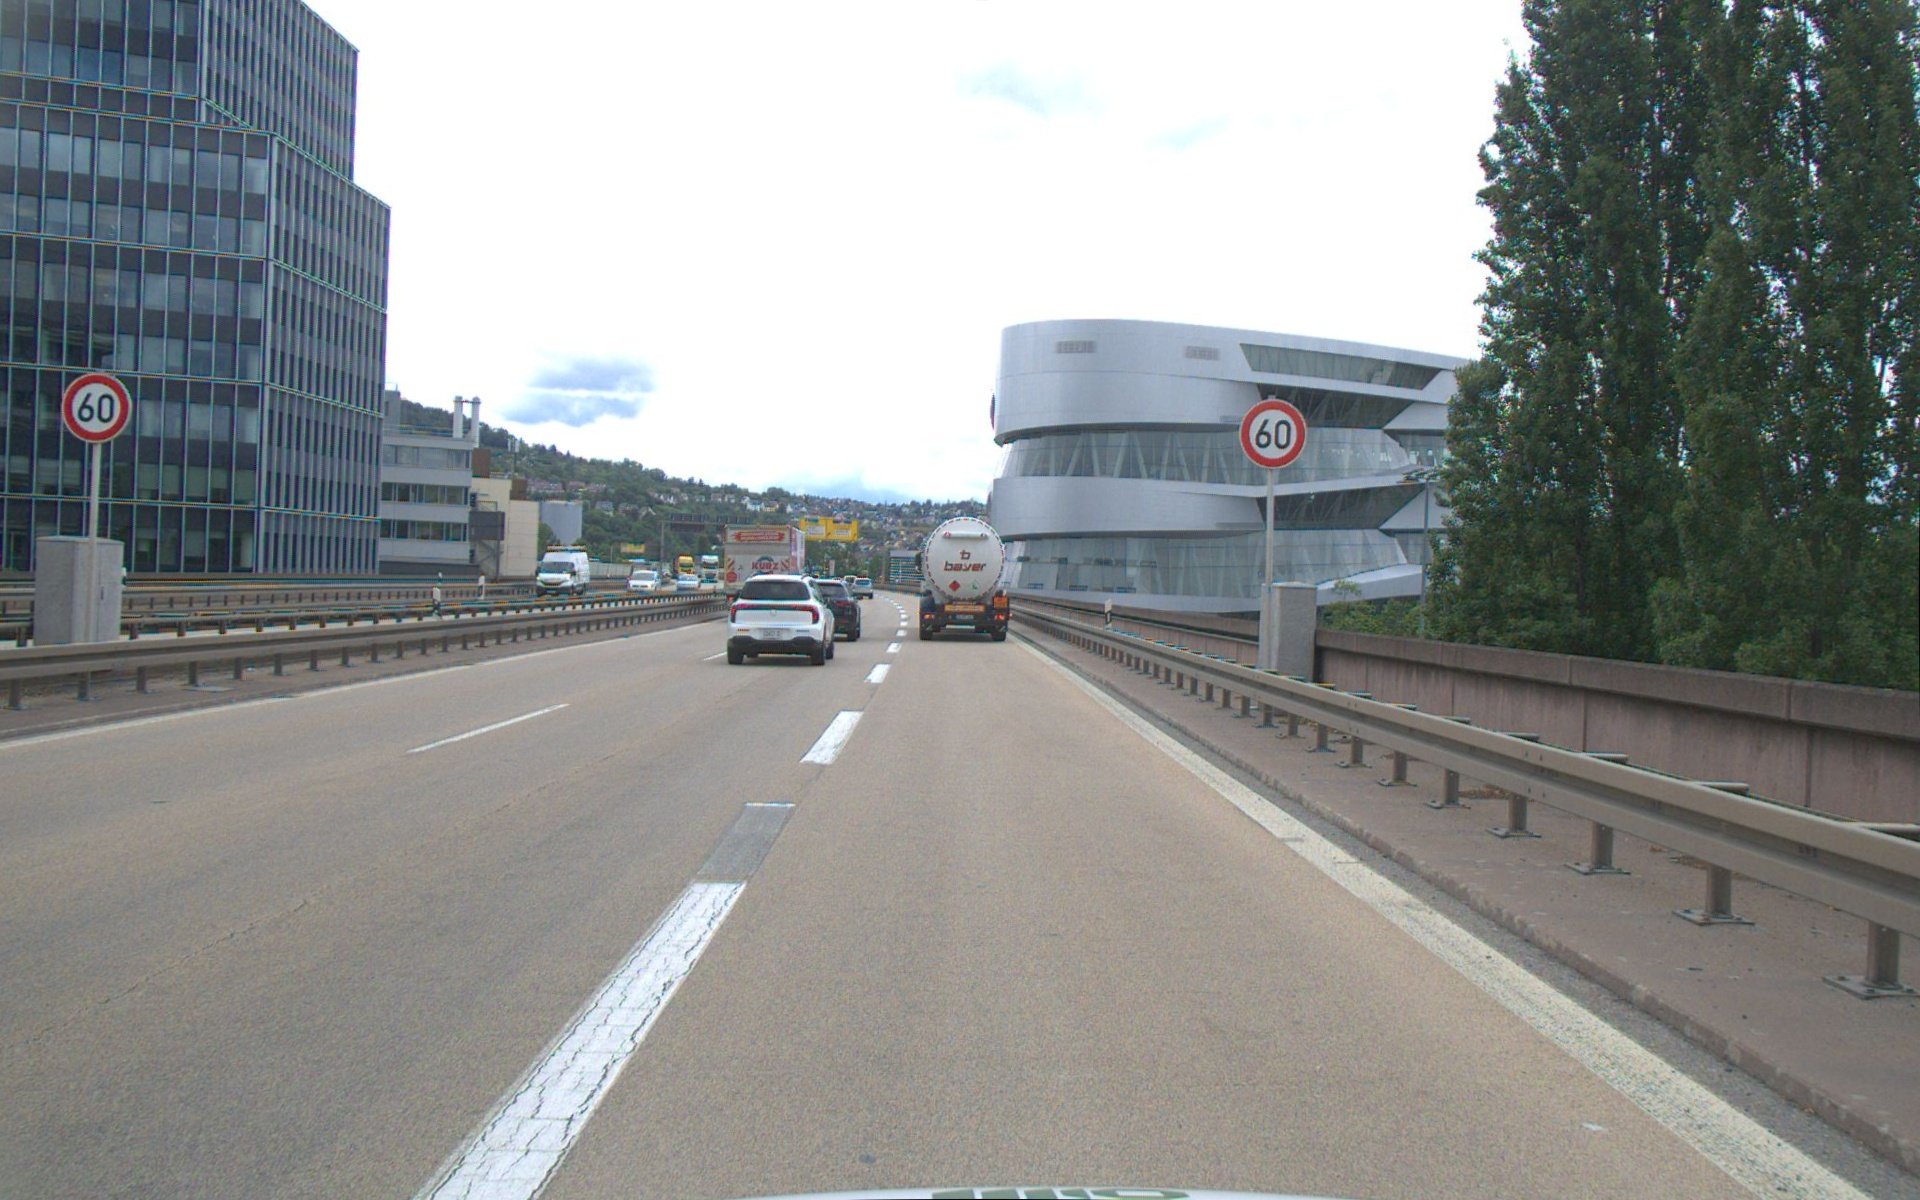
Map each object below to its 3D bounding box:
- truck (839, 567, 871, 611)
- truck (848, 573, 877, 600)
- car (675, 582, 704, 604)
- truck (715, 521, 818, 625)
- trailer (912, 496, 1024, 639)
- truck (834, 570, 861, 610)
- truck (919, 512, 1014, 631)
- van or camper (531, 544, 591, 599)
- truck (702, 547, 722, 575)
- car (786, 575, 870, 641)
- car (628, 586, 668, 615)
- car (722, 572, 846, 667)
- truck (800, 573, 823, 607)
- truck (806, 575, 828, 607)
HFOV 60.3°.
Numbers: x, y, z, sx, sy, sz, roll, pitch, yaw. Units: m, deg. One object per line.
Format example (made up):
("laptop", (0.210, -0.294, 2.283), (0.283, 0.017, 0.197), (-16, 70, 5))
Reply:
("truck", (-11.295, -1.163, 177.299), (2.998, 4.642, 8.293), (1, 0, -6))
("truck", (-8.051, -1.096, 136.780), (2.210, 2.201, 5.067), (1, 0, -1))
("car", (-21.736, -0.549, 132.984), (1.649, 1.679, 4.447), (2, 0, -1))
("truck", (-7.432, -0.980, 64.649), (2.994, 3.755, 8.303), (1, 0, 0))
("trailer", (0.212, -0.894, 49.342), (2.994, 3.856, 8.303), (1, 0, 0))
("truck", (-13.795, -1.211, 201.783), (2.998, 4.642, 8.293), (1, 0, -6))
("truck", (0.189, -0.896, 55.629), (2.953, 3.721, 6.272), (1, 0, 0))
("van or camper", (-23.448, -1.661, 97.362), (2.128, 3.061, 7.113), (1, 0, -3))
("truck", (-37.954, -5.949, 253.257), (2.718, 4.150, 5.639), (1, 0, -5))
("car", (-3.591, 0.221, 45.692), (1.953, 1.704, 4.408), (1, 0, 0))
("car", (-19.490, 0.028, 103.525), (1.649, 1.679, 4.312), (2, 0, -1))
("car", (-3.383, 0.351, 32.502), (1.953, 1.704, 4.408), (1, 0, 0))
("truck", (-20.731, -1.349, 230.885), (2.998, 4.642, 8.293), (1, 0, -6))
("truck", (-21.483, -1.358, 248.051), (2.998, 4.642, 8.293), (1, 0, -6))
